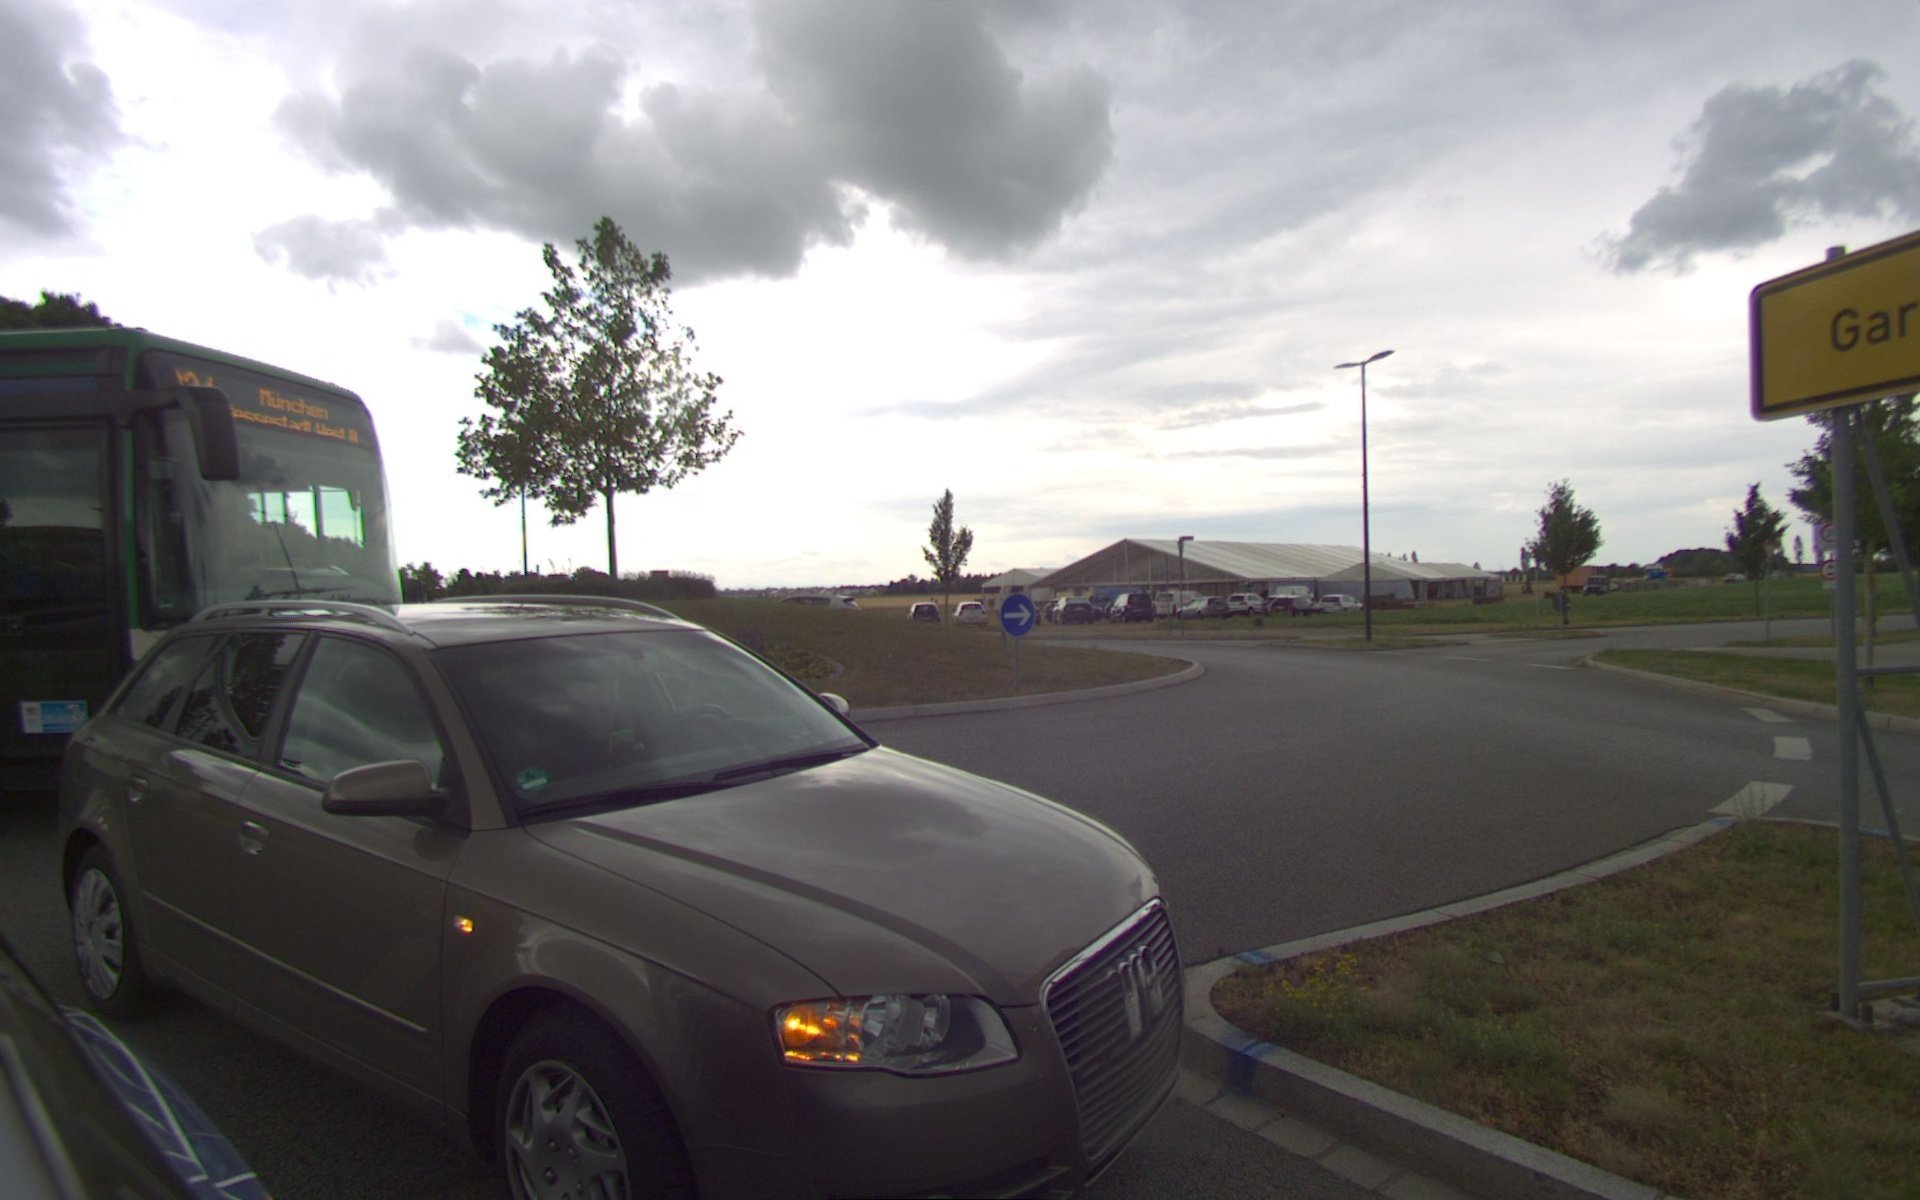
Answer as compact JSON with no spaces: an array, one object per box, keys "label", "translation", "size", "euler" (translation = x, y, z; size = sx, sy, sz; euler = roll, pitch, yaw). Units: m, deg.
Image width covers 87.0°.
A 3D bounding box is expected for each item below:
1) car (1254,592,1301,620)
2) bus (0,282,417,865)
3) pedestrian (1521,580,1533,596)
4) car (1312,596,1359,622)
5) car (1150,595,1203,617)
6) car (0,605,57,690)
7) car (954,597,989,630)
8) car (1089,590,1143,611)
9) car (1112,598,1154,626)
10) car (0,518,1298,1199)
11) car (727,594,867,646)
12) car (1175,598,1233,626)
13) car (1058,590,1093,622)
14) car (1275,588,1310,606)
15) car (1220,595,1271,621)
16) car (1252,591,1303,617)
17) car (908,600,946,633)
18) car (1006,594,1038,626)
[{"label":"car","translation":[19.061,0.348,60.894],"size":[1.613,1.618,3.875],"euler":[-2,0,1]},{"label":"bus","translation":[-7.654,-0.141,7.042],"size":[6.459,3.283,2.524],"euler":[0,0,1]},{"label":"pedestrian","translation":[73.661,-1.619,131.479],"size":[1.045,2.029,1.052],"euler":[-2,1,-44]},{"label":"car","translation":[24.214,0.585,65.199],"size":[1.729,1.565,3.950],"euler":[-1,0,37]},{"label":"car","translation":[15.194,0.406,70.959],"size":[1.951,1.453,3.945],"euler":[-1,0,41]},{"label":"car","translation":[-19.607,0.953,18.344],"size":[1.960,1.579,4.427],"euler":[-2,0,22]},{"label":"car","translation":[0.681,0.745,57.484],"size":[1.694,1.564,3.996],"euler":[-4,2,4]},{"label":"car","translation":[11.971,0.043,77.669],"size":[3.936,1.453,1.955],"euler":[-2,0,-39]},{"label":"car","translation":[9.872,0.665,57.983],"size":[1.926,1.453,3.996],"euler":[-1,0,3]},{"label":"car","translation":[-1.410,0.653,3.414],"size":[4.528,1.476,1.763],"euler":[-1,0,34]},{"label":"car","translation":[-5.568,0.681,34.617],"size":[4.410,1.638,1.705],"euler":[-2,0,16]},{"label":"car","translation":[14.745,0.713,61.293],"size":[1.705,1.618,3.887],"euler":[-2,0,-15]},{"label":"car","translation":[6.610,0.335,58.163],"size":[1.694,1.564,3.996],"euler":[-4,2,4]},{"label":"car","translation":[32.389,-0.324,98.589],"size":[1.835,1.618,3.776],"euler":[-1,0,42]},{"label":"car","translation":[19.448,0.522,68.940],"size":[1.835,1.618,3.776],"euler":[-1,0,42]},{"label":"car","translation":[21.060,0.236,67.113],"size":[1.835,1.618,3.776],"euler":[-1,0,42]},{"label":"car","translation":[-1.820,0.913,57.349],"size":[1.694,1.564,3.996],"euler":[-4,2,4]},{"label":"car","translation":[3.536,0.549,57.764],"size":[1.694,1.564,3.996],"euler":[-4,2,4]}]
